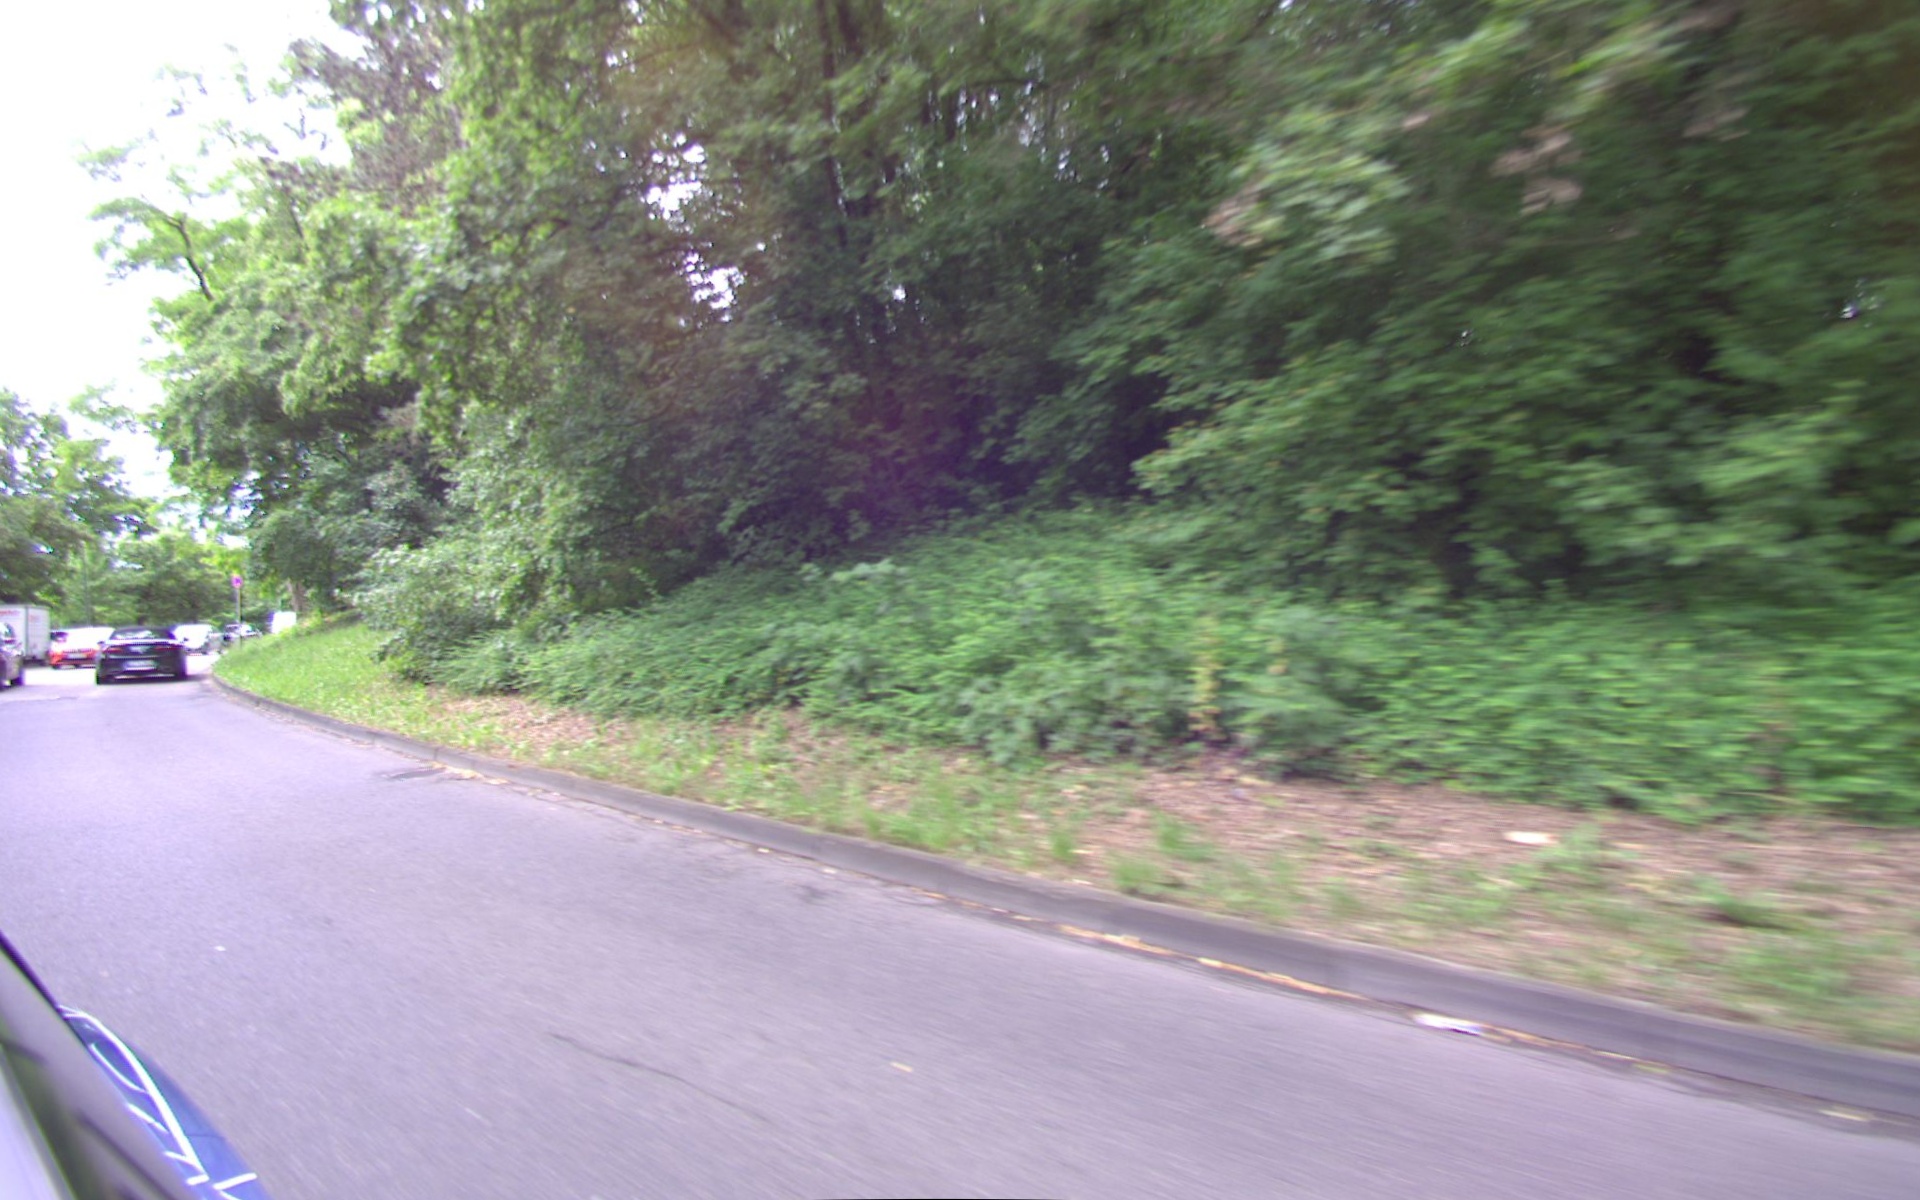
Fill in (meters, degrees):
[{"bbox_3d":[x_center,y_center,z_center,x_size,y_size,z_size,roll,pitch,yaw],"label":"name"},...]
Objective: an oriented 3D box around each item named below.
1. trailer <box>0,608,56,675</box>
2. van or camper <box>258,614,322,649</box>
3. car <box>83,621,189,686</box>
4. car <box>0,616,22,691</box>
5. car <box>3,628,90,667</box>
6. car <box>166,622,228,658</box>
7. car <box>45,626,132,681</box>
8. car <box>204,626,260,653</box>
[{"bbox_3d":[-36.651,1.587,39.118,1.736,2.445,3.899,-1,-1,-29],"label":"trailer"},{"bbox_3d":[-52.224,2.397,78.985,2.132,2.555,6.047,-3,0,-13],"label":"van or camper"},{"bbox_3d":[-21.912,1.349,26.840,1.770,1.399,4.495,-4,2,-44],"label":"car"},{"bbox_3d":[-23.378,1.283,23.520,1.968,1.640,4.634,-3,0,-39],"label":"car"},{"bbox_3d":[-39.436,2.006,43.811,1.717,1.536,4.650,-1,-1,-28],"label":"car"},{"bbox_3d":[-40.872,2.093,54.316,1.891,1.694,4.013,-1,1,-26],"label":"car"},{"bbox_3d":[-31.809,1.897,37.035,1.837,1.459,4.189,1,4,-33],"label":"car"},{"bbox_3d":[-49.607,2.669,69.059,1.822,1.655,4.544,-1,-1,-18],"label":"car"}]
